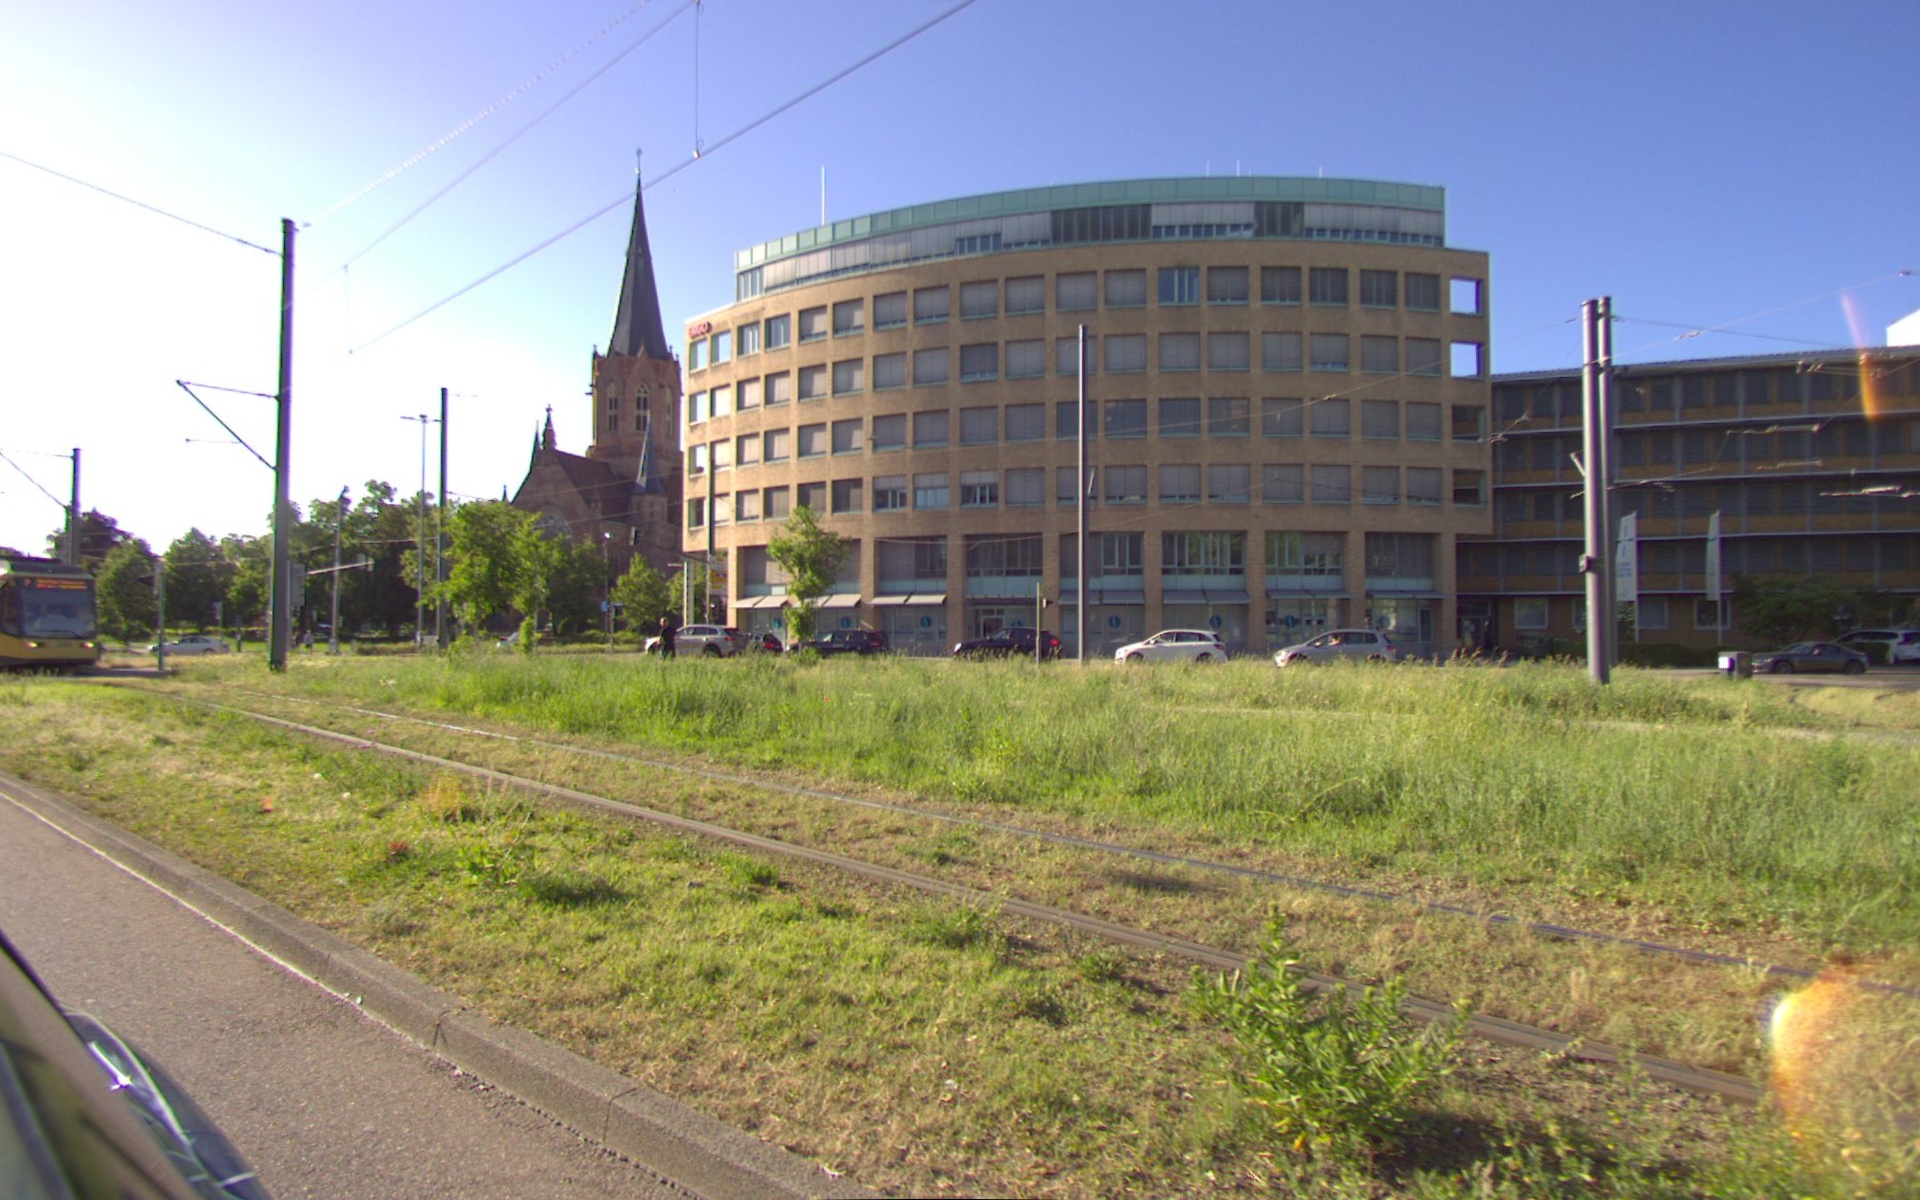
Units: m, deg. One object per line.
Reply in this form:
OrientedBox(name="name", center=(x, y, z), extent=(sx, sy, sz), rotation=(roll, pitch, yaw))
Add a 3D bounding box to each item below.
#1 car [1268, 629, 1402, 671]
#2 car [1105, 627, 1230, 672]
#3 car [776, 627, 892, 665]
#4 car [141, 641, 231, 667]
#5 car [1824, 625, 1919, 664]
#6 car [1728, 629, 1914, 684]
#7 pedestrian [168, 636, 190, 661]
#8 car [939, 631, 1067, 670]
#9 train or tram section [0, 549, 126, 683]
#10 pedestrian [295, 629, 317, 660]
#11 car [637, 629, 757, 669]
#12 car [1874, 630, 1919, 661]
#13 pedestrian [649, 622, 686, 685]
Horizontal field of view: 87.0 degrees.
OrientedBox(name="car", center=(13.896, 1.839, 37.794), extent=(4.468, 1.438, 1.991), rotation=(0, 0, 15))
OrientedBox(name="car", center=(8.147, 1.913, 39.681), extent=(4.617, 1.608, 1.989), rotation=(0, 0, 18))
OrientedBox(name="car", center=(-5.475, 1.978, 43.952), extent=(4.623, 1.528, 1.988), rotation=(0, 0, 18))
OrientedBox(name="car", center=(-52.332, 3.630, 68.527), extent=(4.632, 1.586, 1.775), rotation=(0, 0, -27))
OrientedBox(name="car", center=(42.935, 2.028, 46.907), extent=(1.967, 1.593, 4.009), rotation=(0, 0, -11))
OrientedBox(name="car", center=(28.715, 1.849, 33.922), extent=(4.242, 1.524, 1.991), rotation=(2, 0, 15))
OrientedBox(name="pedestrian", center=(-59.887, 3.694, 77.619), extent=(1.105, 1.860, 0.840), rotation=(0, 0, 17))
OrientedBox(name="car", center=(1.785, 2.046, 41.949), extent=(4.985, 1.458, 1.986), rotation=(0, 0, 22))
OrientedBox(name="train or tram section", center=(-31.610, 0.616, 32.262), extent=(13.120, 3.713, 2.931), rotation=(-2, -2, 28))
OrientedBox(name="pedestrian", center=(-44.740, 3.029, 69.217), extent=(0.918, 2.029, 0.873), rotation=(0, 0, 20))
OrientedBox(name="car", center=(-12.088, 2.228, 46.513), extent=(5.043, 1.747, 2.094), rotation=(-1, -2, 18))
OrientedBox(name="car", center=(45.498, 2.131, 47.082), extent=(1.967, 1.351, 4.009), rotation=(0, 0, -11))
OrientedBox(name="pedestrian", center=(-7.938, 1.432, 27.456), extent=(0.725, 1.683, 0.745), rotation=(1, -2, -44))
